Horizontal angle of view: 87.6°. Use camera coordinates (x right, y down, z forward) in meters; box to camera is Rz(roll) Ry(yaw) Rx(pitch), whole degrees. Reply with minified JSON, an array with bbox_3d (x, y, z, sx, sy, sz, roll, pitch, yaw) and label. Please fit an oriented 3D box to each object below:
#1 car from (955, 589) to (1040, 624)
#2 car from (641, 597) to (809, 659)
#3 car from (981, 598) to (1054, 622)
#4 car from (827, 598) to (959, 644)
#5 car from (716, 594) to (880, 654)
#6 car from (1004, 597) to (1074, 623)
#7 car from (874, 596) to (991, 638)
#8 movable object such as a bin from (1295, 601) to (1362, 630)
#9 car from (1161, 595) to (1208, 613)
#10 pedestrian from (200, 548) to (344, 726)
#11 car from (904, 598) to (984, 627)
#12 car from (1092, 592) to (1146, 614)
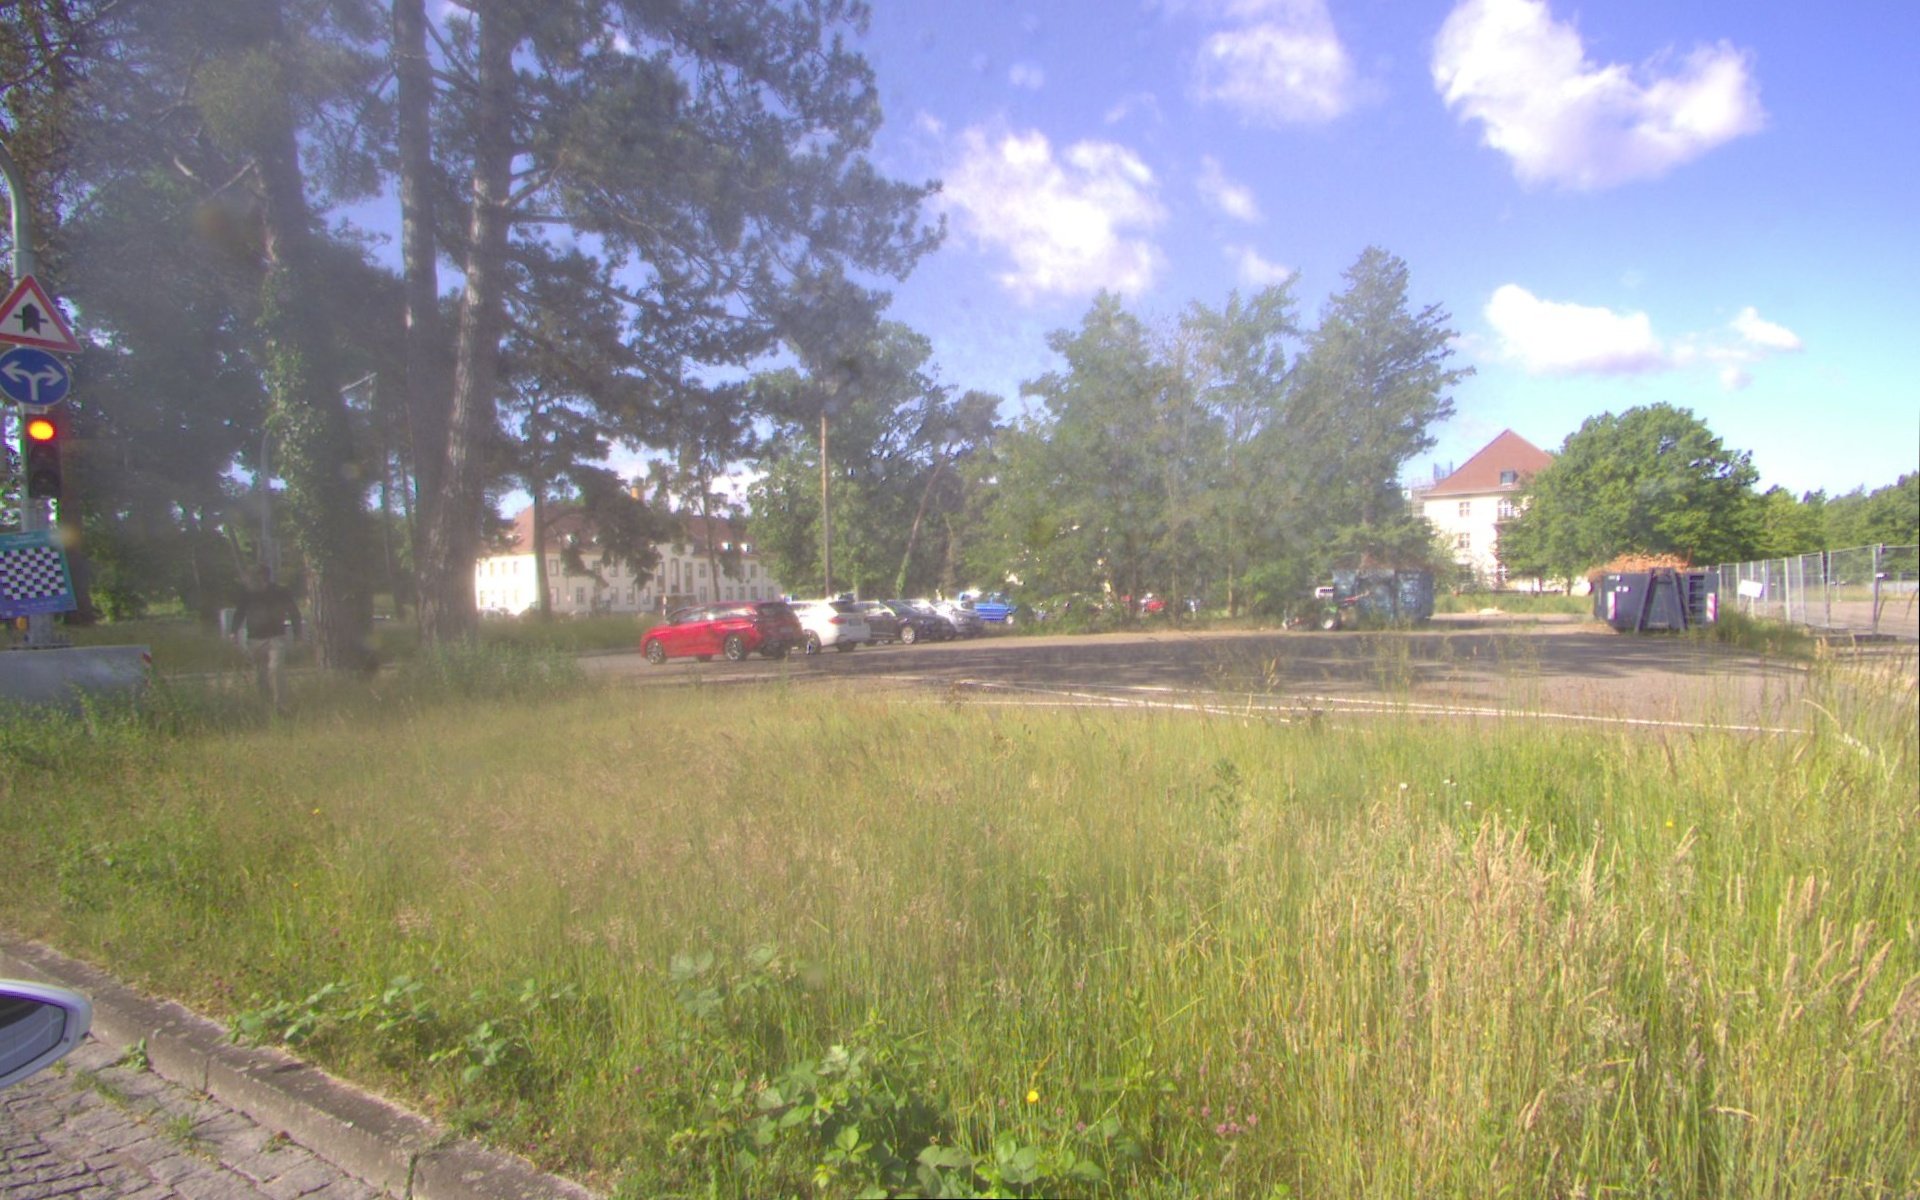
[{"bbox_3d":[2.195,0.390,59.208,4.676,1.973,1.982,-1,-1,32],"label":"car"},{"bbox_3d":[-5.832,0.705,24.703,4.071,1.417,1.652,-2,-1,32],"label":"car"},{"bbox_3d":[3.517,0.639,61.532,4.180,1.443,1.720,-1,-1,32],"label":"car"},{"bbox_3d":[-2.153,0.658,31.807,3.987,1.332,1.612,-1,1,33],"label":"car"},{"bbox_3d":[-4.422,0.661,27.208,4.179,1.396,1.776,-3,0,30],"label":"car"},{"bbox_3d":[5.059,0.641,64.134,4.180,1.568,1.720,-1,-1,32],"label":"car"},{"bbox_3d":[-0.953,0.599,34.449,3.739,1.390,1.720,-1,-1,34],"label":"car"},{"bbox_3d":[10.516,0.445,28.550,1.696,0.763,1.143,-1,0,25],"label":"movable object such as a bin"},{"bbox_3d":[19.638,0.361,87.560,3.681,1.568,1.705,-1,-1,32],"label":"car"},{"bbox_3d":[-7.510,0.367,11.015,1.155,1.820,1.057,-2,2,-30],"label":"pedestrian"},{"bbox_3d":[-0.886,0.702,55.064,4.180,1.487,1.720,-1,-1,32],"label":"car"},{"bbox_3d":[12.001,0.256,75.744,3.681,1.568,1.705,-1,-1,32],"label":"car"}]
